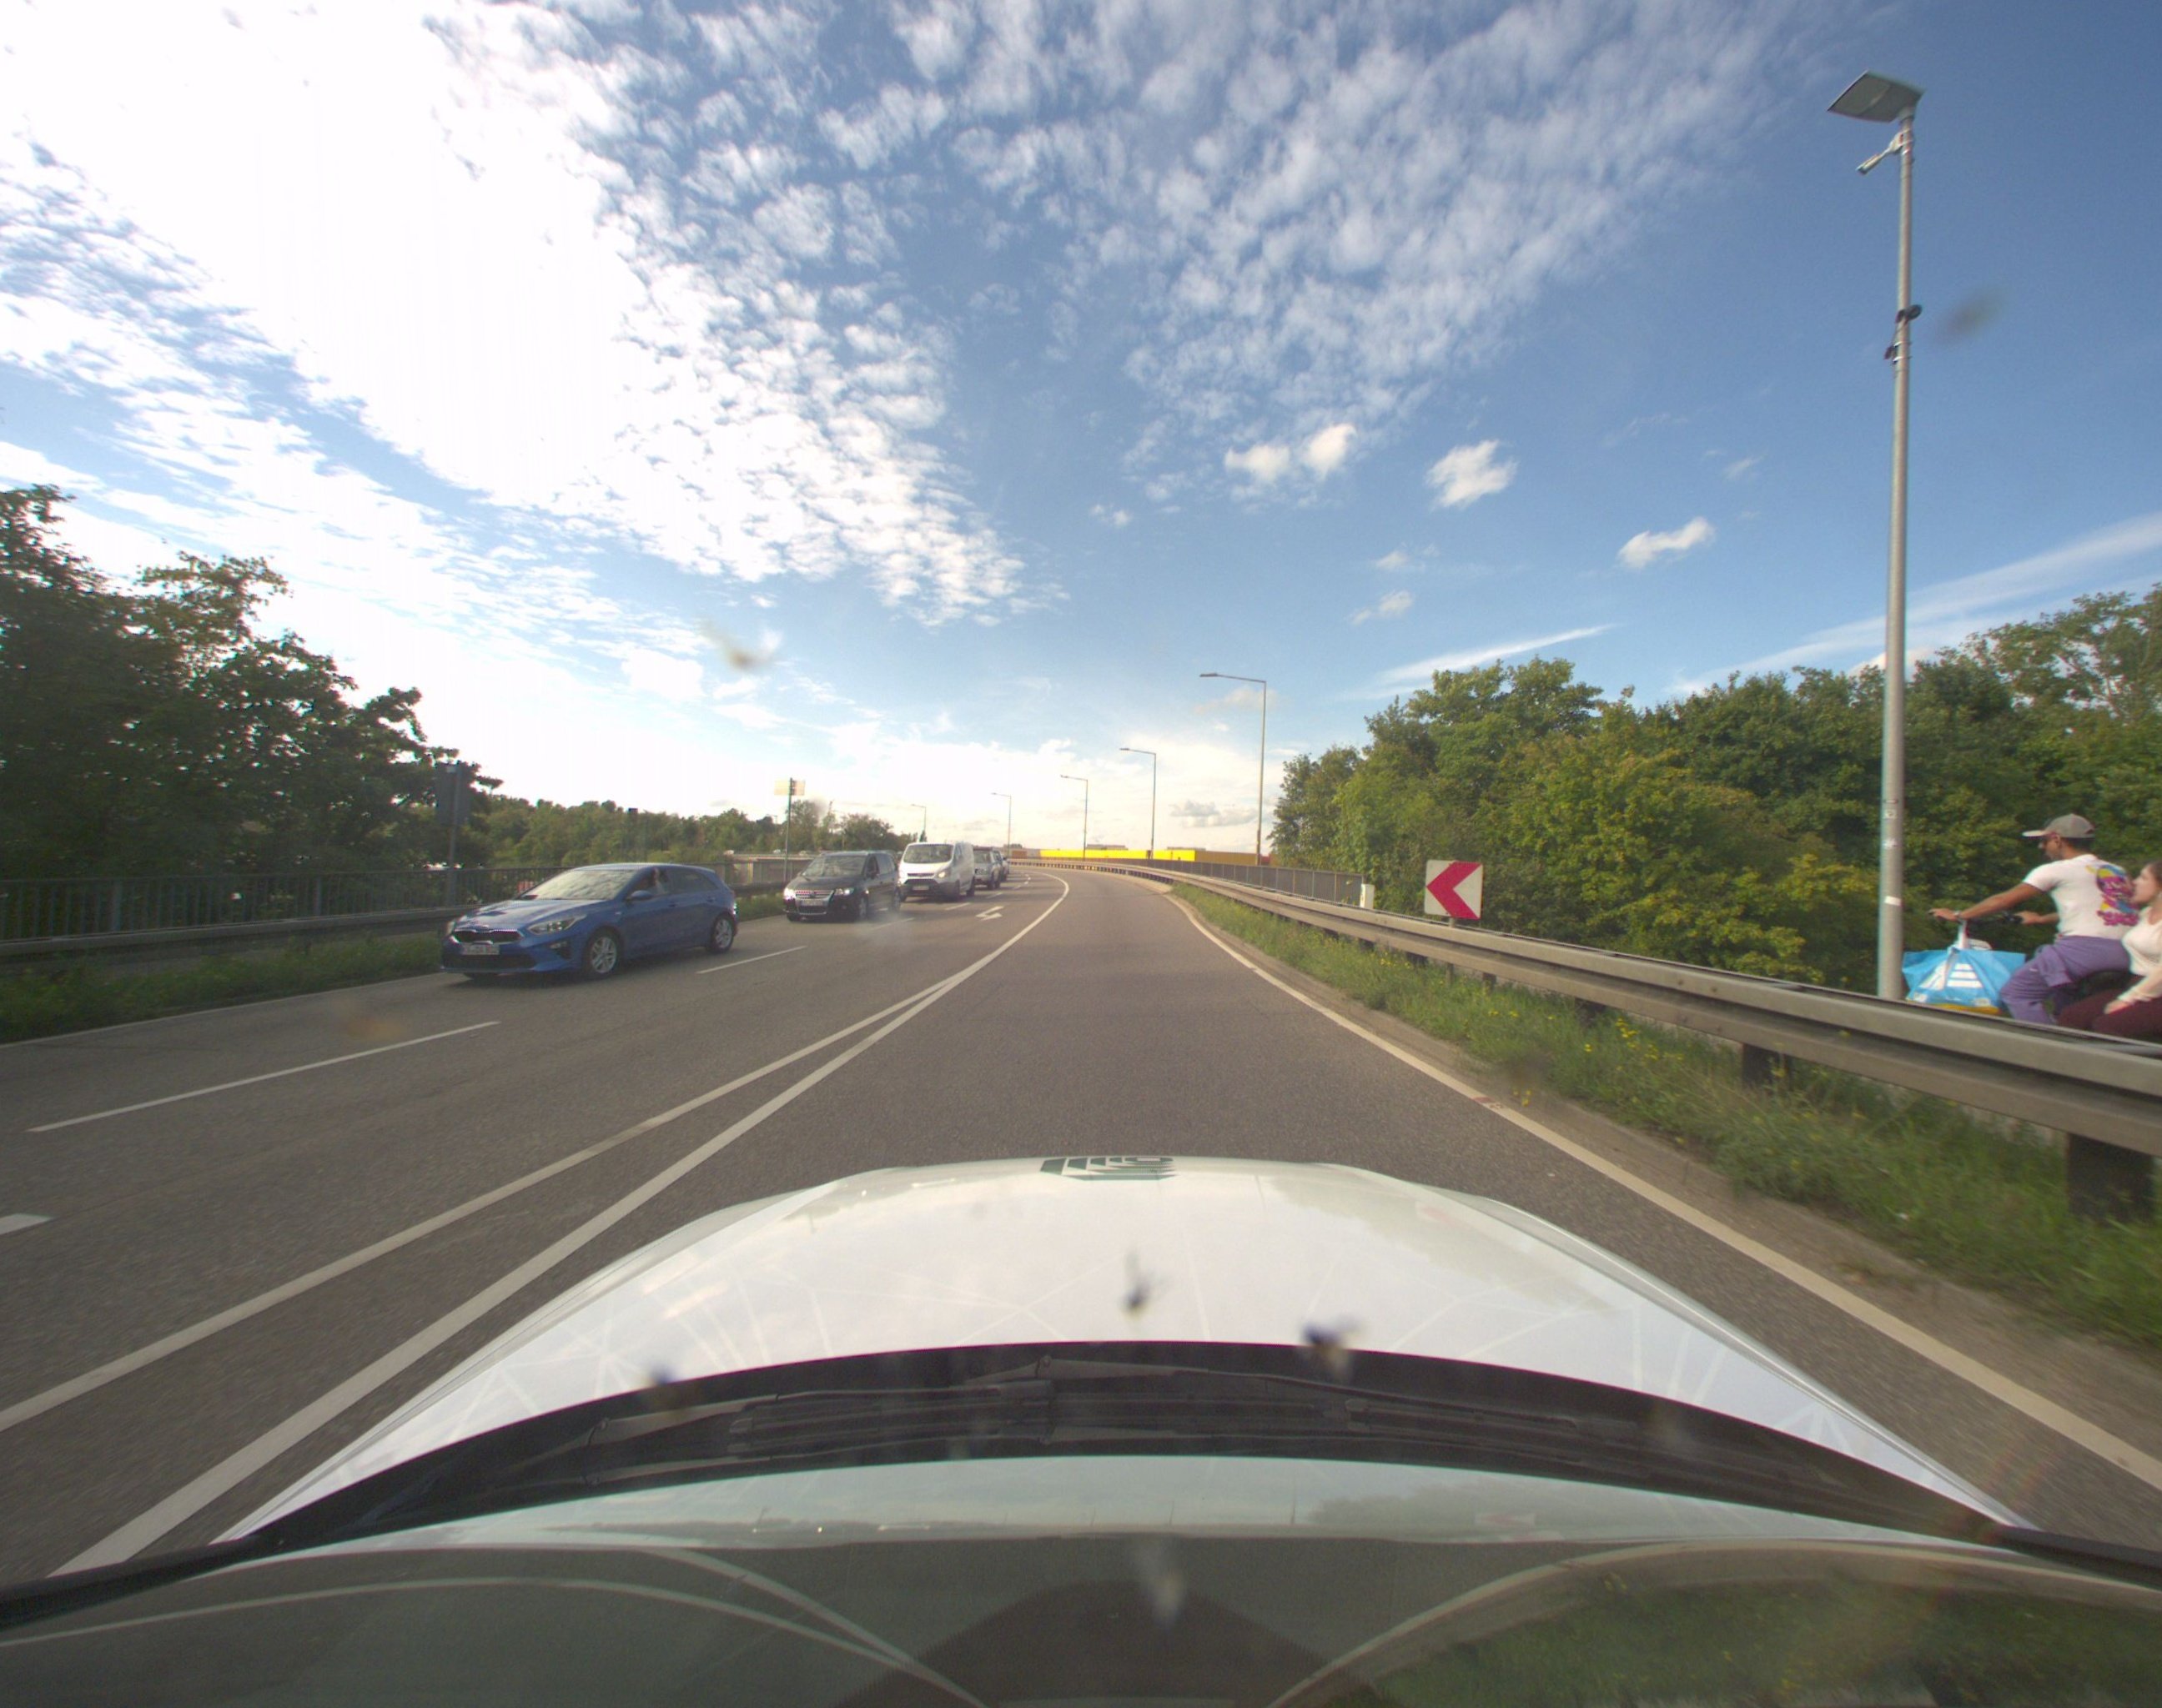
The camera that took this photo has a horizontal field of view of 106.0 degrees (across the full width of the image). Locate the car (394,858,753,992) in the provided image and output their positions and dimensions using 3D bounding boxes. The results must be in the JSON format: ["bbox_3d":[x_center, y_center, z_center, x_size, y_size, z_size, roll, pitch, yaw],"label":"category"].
[{"bbox_3d":[-6.618,0.804,11.351,1.883,1.447,4.370,0,0,7],"label":"car"}]

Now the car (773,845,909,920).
[{"bbox_3d":[-5.732,0.644,20.080,1.738,1.654,4.458,0,0,4],"label":"car"}]

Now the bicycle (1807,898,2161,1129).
[{"bbox_3d":[5.666,0.884,5.150,0.594,1.120,1.695,0,0,-2],"label":"bicycle"}]

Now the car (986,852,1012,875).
[{"bbox_3d":[-5.826,0.625,57.646,1.682,1.545,3.913,0,0,-8],"label":"car"}]

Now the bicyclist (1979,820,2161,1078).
[{"bbox_3d":[5.647,0.504,4.622,0.498,1.372,0.538,0,0,-3],"label":"bicyclist"}]

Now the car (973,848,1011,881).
[{"bbox_3d":[-4.694,0.497,43.484,1.866,1.666,4.622,0,0,-4],"label":"car"}]

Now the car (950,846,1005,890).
[{"bbox_3d":[-4.302,0.548,34.299,1.767,1.746,3.838,0,0,1],"label":"car"}]

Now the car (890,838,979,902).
[{"bbox_3d":[-4.800,0.468,27.482,1.978,1.964,5.049,0,0,1],"label":"car"}]

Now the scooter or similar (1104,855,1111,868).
[{"bbox_3d":[2.221,0.629,68.949,0.265,1.162,1.183,0,0,-13],"label":"scooter or similar"}]

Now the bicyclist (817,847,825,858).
[{"bbox_3d":[-39.509,-0.228,123.945,0.773,1.660,1.107,0,-1,-42],"label":"bicyclist"}]

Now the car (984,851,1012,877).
[{"bbox_3d":[-5.216,0.592,50.858,1.682,1.545,3.913,0,0,-7],"label":"car"}]

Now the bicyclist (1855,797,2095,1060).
[{"bbox_3d":[5.670,0.439,5.213,0.705,1.557,0.753,0,0,-3],"label":"bicyclist"}]
